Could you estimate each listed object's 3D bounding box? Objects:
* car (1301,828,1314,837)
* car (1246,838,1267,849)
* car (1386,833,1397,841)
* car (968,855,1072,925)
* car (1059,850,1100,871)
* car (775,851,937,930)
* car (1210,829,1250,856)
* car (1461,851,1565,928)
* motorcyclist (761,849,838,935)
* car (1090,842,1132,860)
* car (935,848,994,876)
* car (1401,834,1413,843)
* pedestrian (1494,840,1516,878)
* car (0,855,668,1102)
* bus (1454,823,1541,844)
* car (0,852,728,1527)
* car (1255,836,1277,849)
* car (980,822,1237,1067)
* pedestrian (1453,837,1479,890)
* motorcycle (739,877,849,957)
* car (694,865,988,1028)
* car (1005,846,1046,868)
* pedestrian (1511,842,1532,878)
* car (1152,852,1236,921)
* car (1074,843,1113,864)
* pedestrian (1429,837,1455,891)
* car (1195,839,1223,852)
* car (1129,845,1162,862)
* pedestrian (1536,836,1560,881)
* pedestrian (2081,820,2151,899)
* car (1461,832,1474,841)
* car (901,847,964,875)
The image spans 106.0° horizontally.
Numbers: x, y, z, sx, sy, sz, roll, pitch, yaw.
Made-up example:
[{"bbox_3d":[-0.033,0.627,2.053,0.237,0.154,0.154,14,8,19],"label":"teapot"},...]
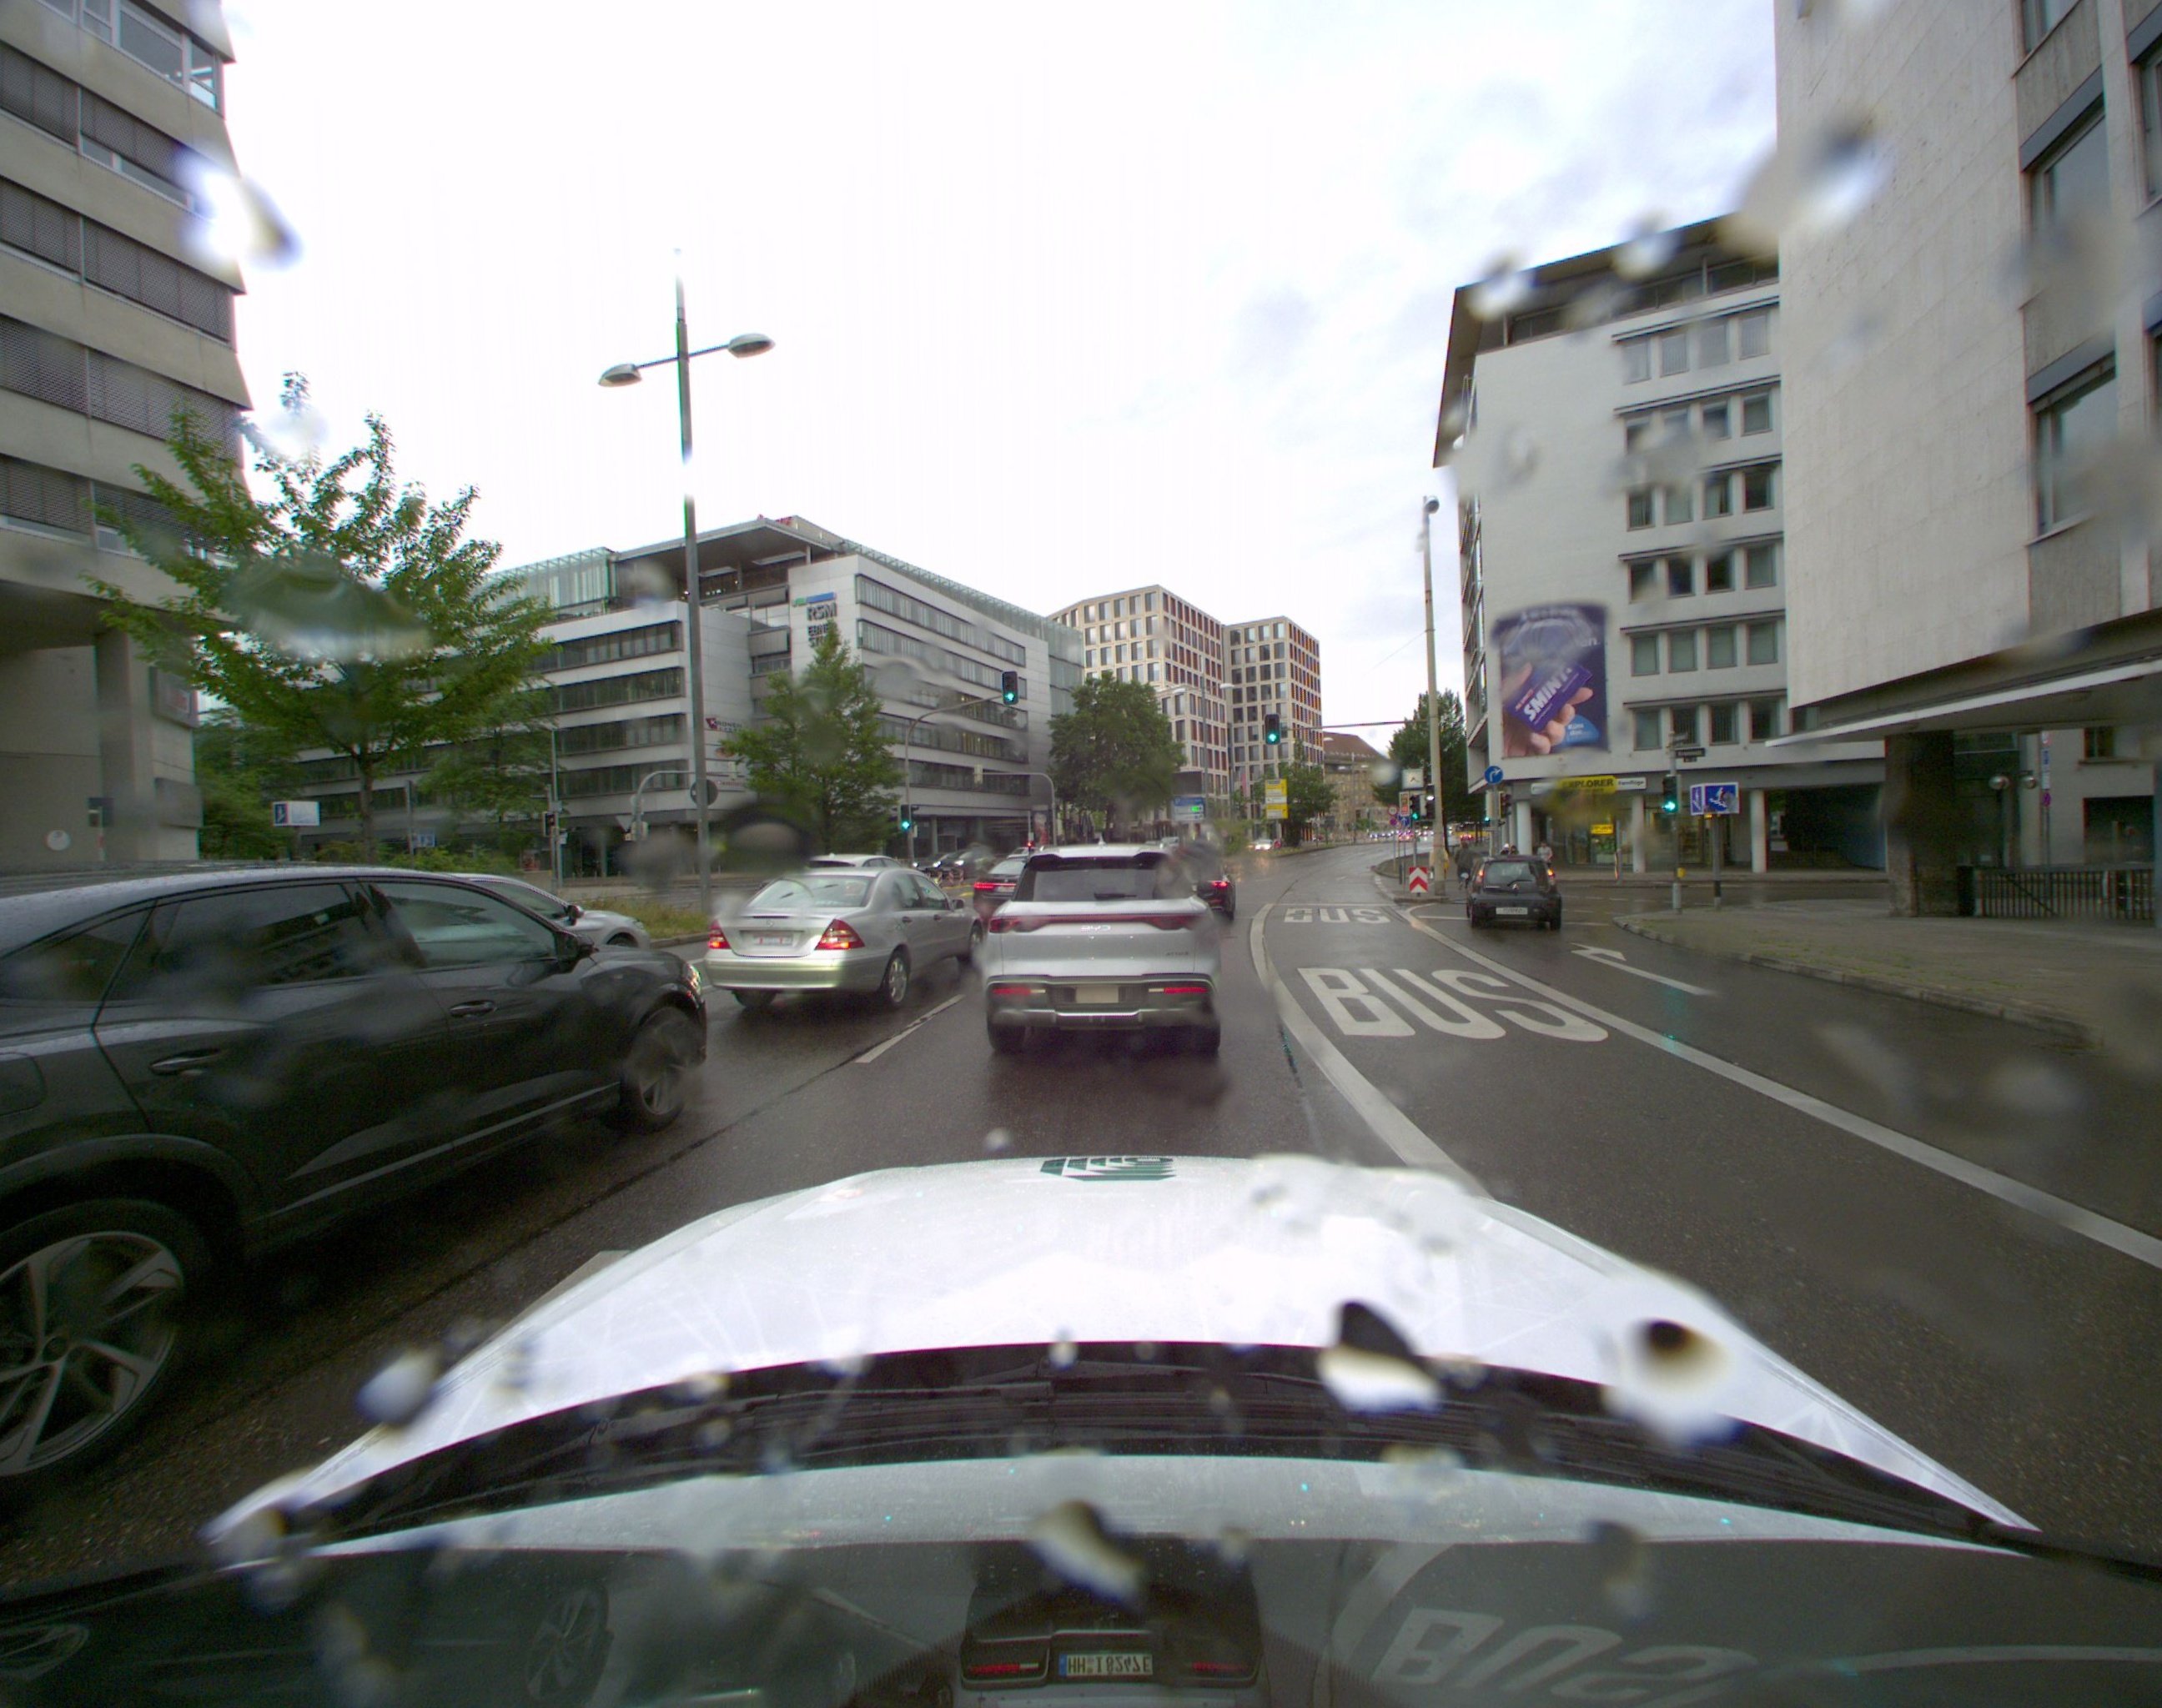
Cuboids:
[{"bbox_3d":[45.251,-4.328,162.696,1.590,1.741,3.467,-1,-1,34],"label":"car"},{"bbox_3d":[26.425,-1.633,122.312,1.974,1.488,4.025,-1,1,29],"label":"car"},{"bbox_3d":[77.410,-4.159,202.846,1.975,2.013,4.025,-1,0,29],"label":"car"},{"bbox_3d":[-1.338,0.793,19.332,1.561,1.486,4.010,-1,-1,9],"label":"car"},{"bbox_3d":[-0.055,0.433,54.818,1.677,1.385,3.885,-1,-1,16],"label":"car"},{"bbox_3d":[-4.659,0.710,17.497,1.696,1.486,4.013,-1,-1,11],"label":"car"},{"bbox_3d":[11.899,-0.865,64.859,1.975,2.014,4.876,-1,-1,25],"label":"car"},{"bbox_3d":[9.013,0.671,17.248,1.557,1.429,4.021,-1,-1,22],"label":"car"},{"bbox_3d":[-4.720,0.618,13.727,0.765,1.380,1.122,-1,-1,11],"label":"motorcyclist"},{"bbox_3d":[2.815,-0.264,75.132,1.796,1.510,5.227,-1,1,27],"label":"car"},{"bbox_3d":[-6.680,0.408,47.213,1.630,1.536,4.172,-1,0,19],"label":"car"},{"bbox_3d":[60.415,-2.801,150.886,1.871,1.643,4.023,-1,0,24],"label":"car"},{"bbox_3d":[18.679,0.226,35.899,0.657,1.655,0.662,-1,0,-45],"label":"pedestrian"},{"bbox_3d":[-6.252,0.798,7.635,1.855,1.533,4.786,-1,0,7],"label":"car"},{"bbox_3d":[91.422,-4.483,178.968,16.803,4.063,4.465,-1,-1,29],"label":"bus"},{"bbox_3d":[-3.230,0.770,3.219,1.642,1.521,4.274,-1,0,2],"label":"car"},{"bbox_3d":[21.420,-1.347,94.046,1.616,1.437,3.931,-1,1,25],"label":"car"},{"bbox_3d":[0.322,0.646,7.641,1.768,1.679,4.004,-1,-1,4],"label":"car"},{"bbox_3d":[13.324,0.307,28.210,0.742,1.798,0.821,-1,1,22],"label":"pedestrian"},{"bbox_3d":[-4.736,1.002,13.611,0.795,1.185,2.034,-1,-1,11],"label":"motorcycle"},{"bbox_3d":[-2.399,0.844,9.312,1.561,1.407,4.120,-1,-1,9],"label":"car"},{"bbox_3d":[-4.148,0.239,61.890,1.624,1.571,3.738,-1,-1,22],"label":"car"},{"bbox_3d":[19.163,0.268,35.422,0.657,1.543,0.618,-1,0,-45],"label":"pedestrian"},{"bbox_3d":[2.817,0.729,19.685,1.682,1.486,4.013,-1,-1,12],"label":"car"},{"bbox_3d":[1.044,-0.072,64.841,1.629,1.581,4.109,-1,0,24],"label":"car"},{"bbox_3d":[12.241,0.329,27.651,0.742,1.798,0.821,-1,1,22],"label":"pedestrian"},{"bbox_3d":[15.099,-1.002,96.074,1.974,1.488,4.025,-1,1,29],"label":"car"},{"bbox_3d":[6.470,-0.084,81.255,1.616,1.559,4.620,-1,1,25],"label":"car"},{"bbox_3d":[19.038,0.164,33.186,0.778,1.794,0.662,-1,0,-45],"label":"pedestrian"},{"bbox_3d":[23.370,0.128,18.403,0.764,1.731,0.599,-1,0,16],"label":"pedestrian"},{"bbox_3d":[70.662,-3.127,148.872,1.677,1.486,4.025,-1,-1,32],"label":"car"},{"bbox_3d":[-9.215,0.396,50.696,1.976,1.610,4.022,1,1,22],"label":"car"}]
